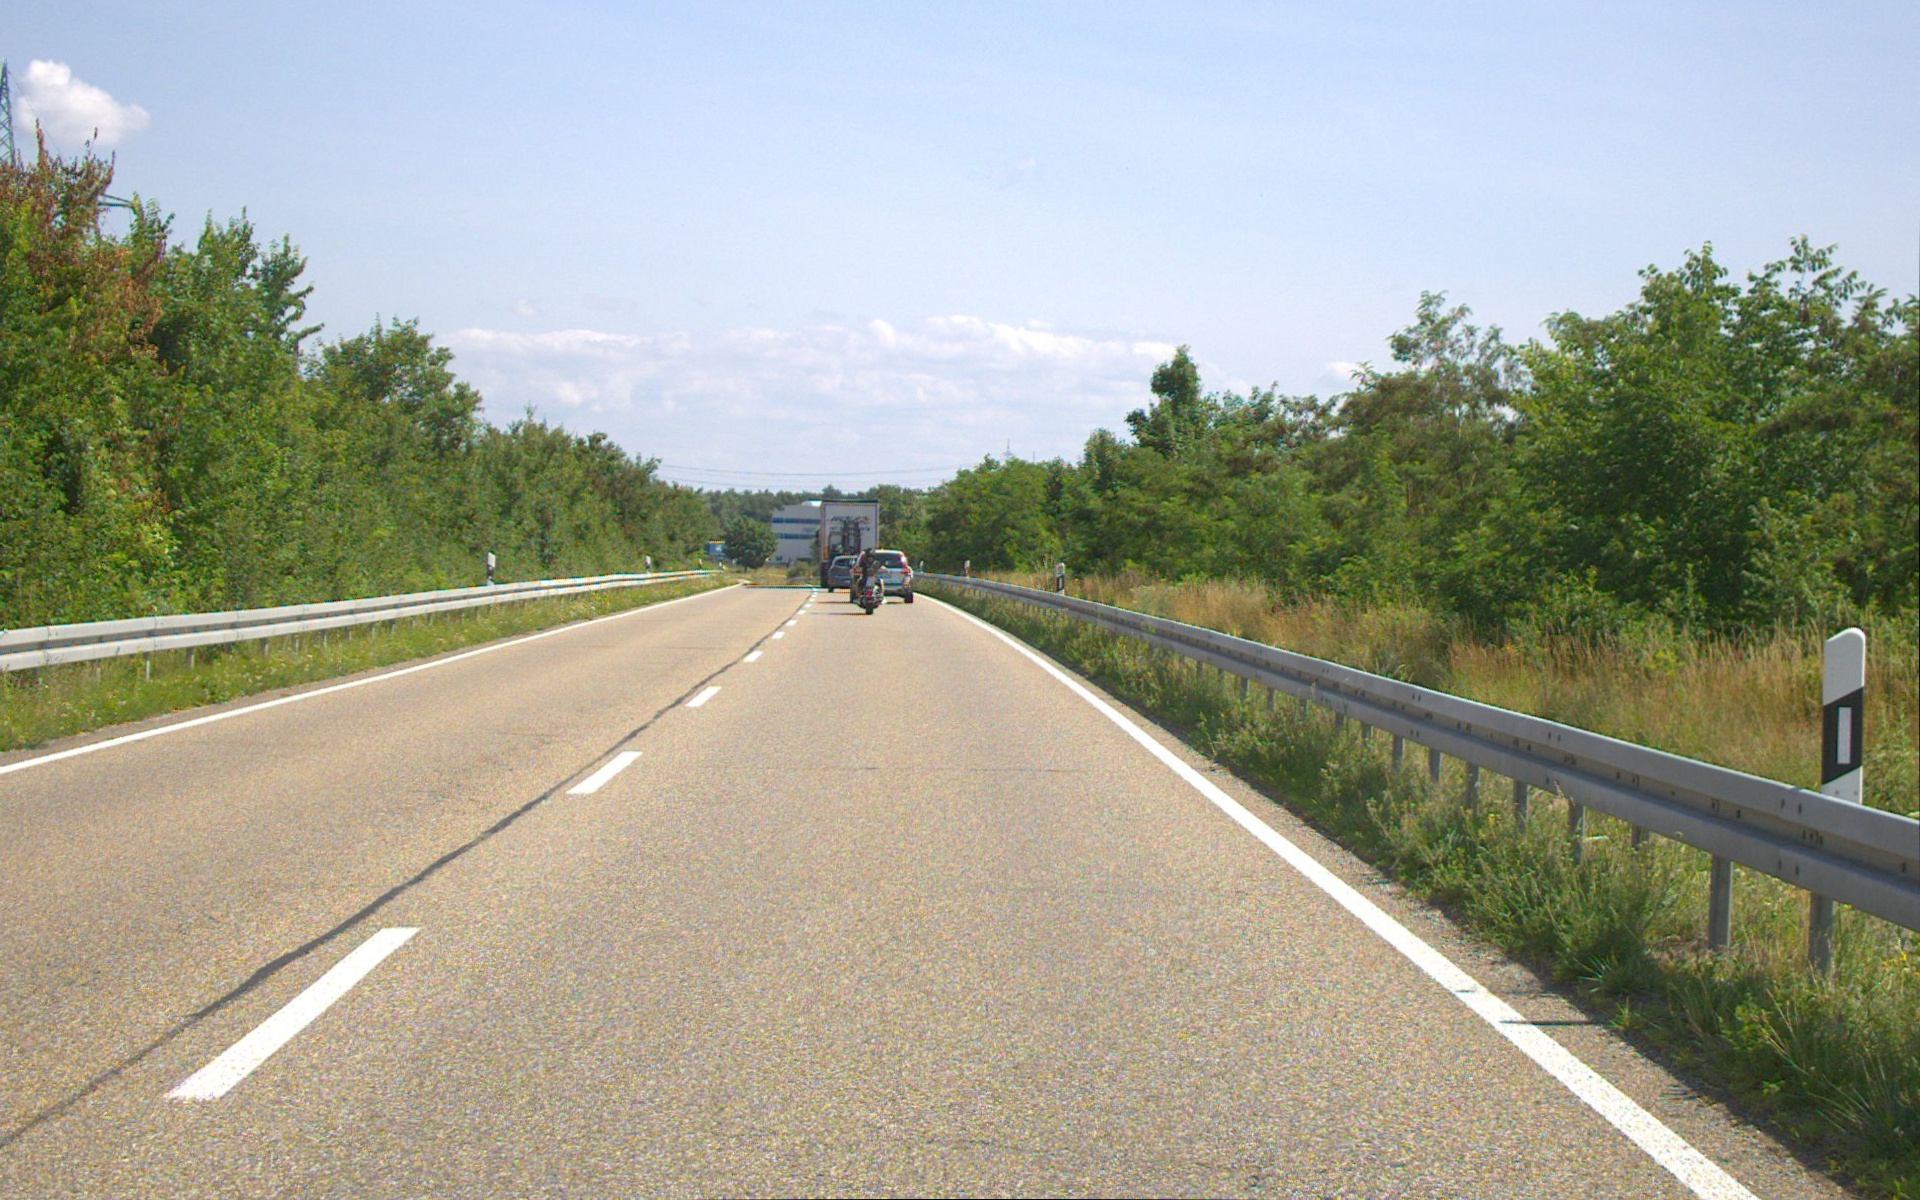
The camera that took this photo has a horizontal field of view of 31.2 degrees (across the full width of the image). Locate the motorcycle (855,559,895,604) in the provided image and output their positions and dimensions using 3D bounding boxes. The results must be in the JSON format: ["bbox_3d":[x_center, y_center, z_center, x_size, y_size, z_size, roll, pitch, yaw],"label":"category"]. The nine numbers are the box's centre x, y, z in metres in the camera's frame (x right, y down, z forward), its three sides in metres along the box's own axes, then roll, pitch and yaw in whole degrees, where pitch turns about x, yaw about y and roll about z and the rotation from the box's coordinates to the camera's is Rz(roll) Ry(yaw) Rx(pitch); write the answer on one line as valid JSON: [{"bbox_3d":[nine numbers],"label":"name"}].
[{"bbox_3d":[-1.976,-0.443,80.268,0.780,0.972,2.361,1,2,2],"label":"motorcycle"}]

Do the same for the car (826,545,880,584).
[{"bbox_3d":[-4.154,-1.394,133.755,1.866,1.415,4.000,1,2,1],"label":"car"}]

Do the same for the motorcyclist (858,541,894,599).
[{"bbox_3d":[-1.962,-0.708,80.279,0.780,1.321,0.813,1,2,2],"label":"motorcyclist"}]

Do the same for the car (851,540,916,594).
[{"bbox_3d":[-2.261,-0.983,100.706,1.825,1.446,4.001,1,2,-2],"label":"car"}]

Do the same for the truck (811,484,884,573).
[{"bbox_3d":[-5.299,-3.370,160.563,3.241,3.965,9.445,1,1,-2],"label":"truck"}]
